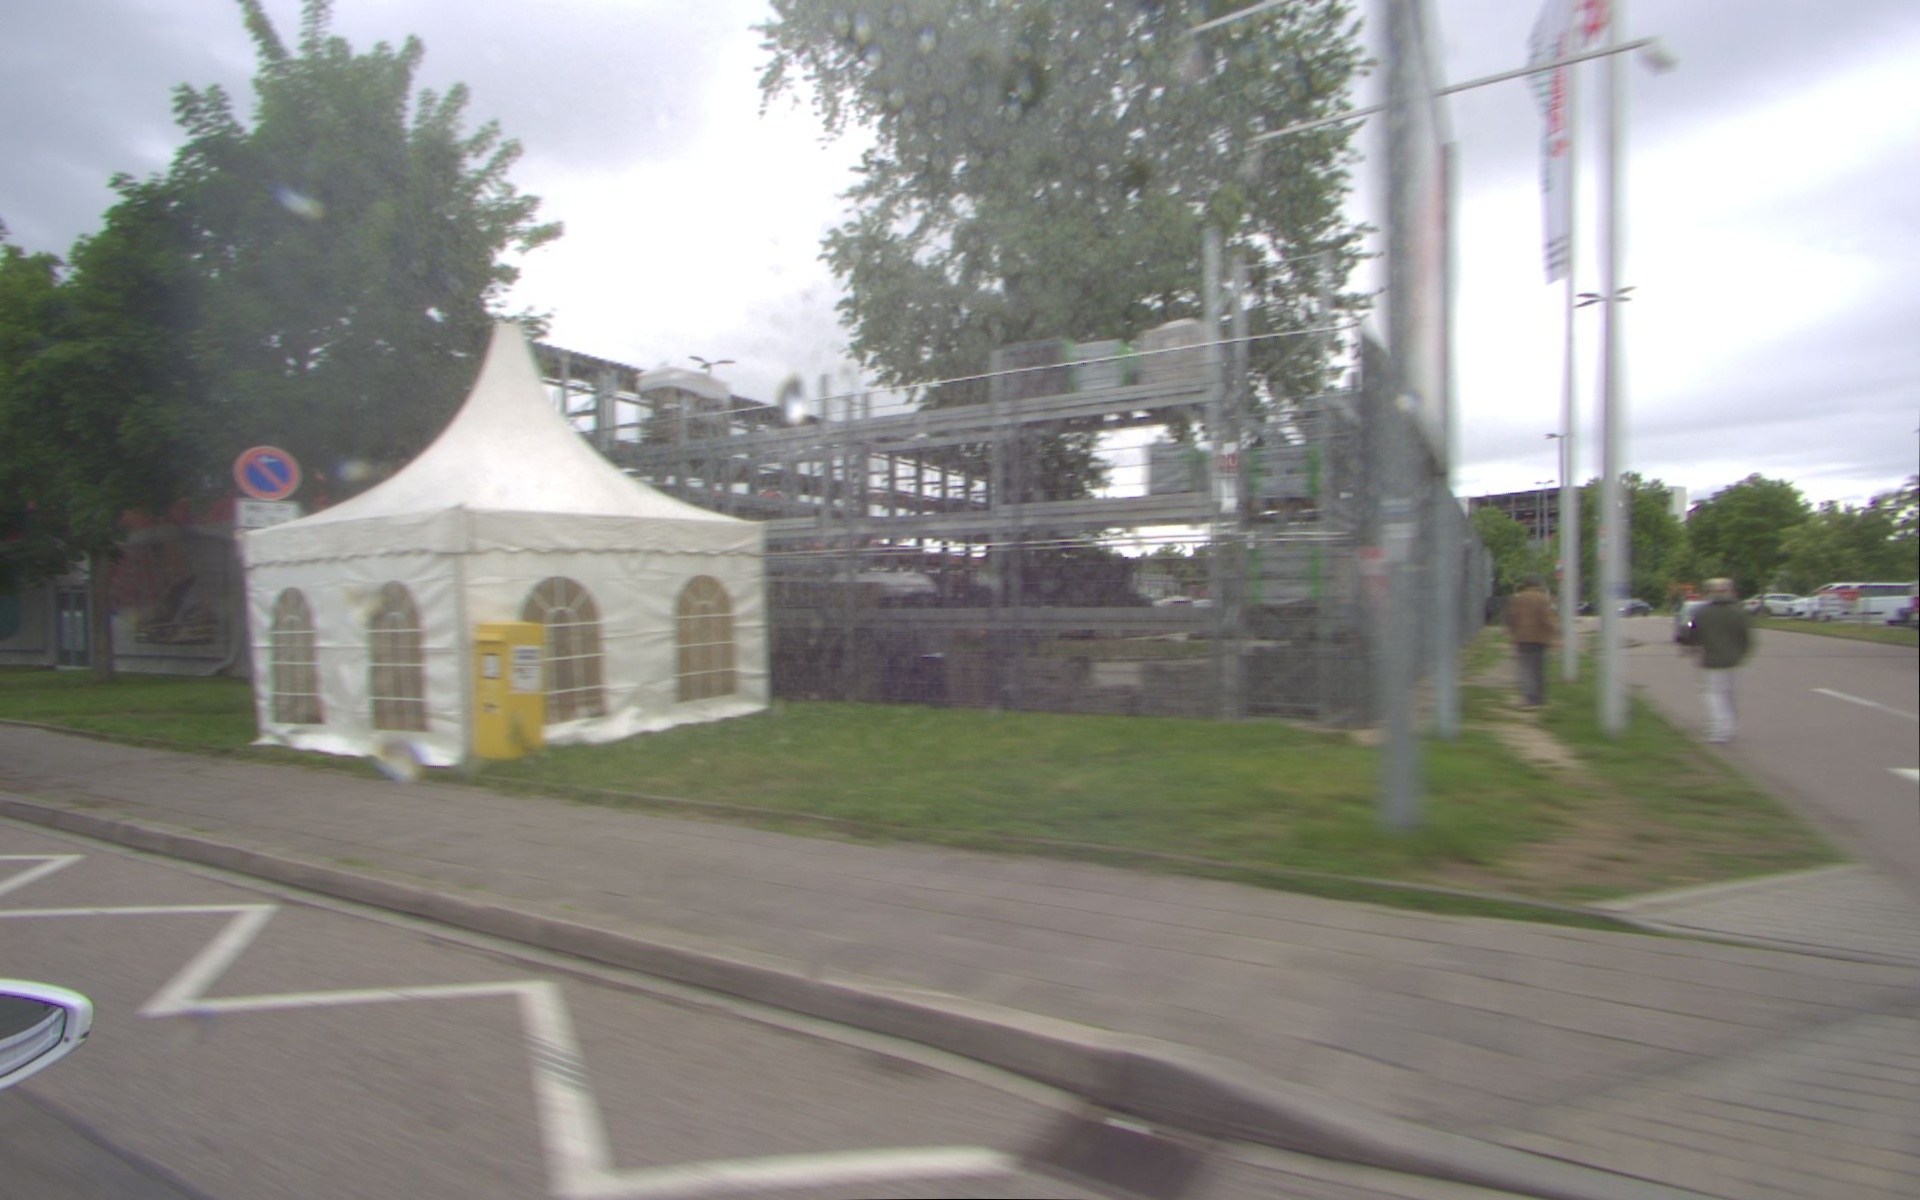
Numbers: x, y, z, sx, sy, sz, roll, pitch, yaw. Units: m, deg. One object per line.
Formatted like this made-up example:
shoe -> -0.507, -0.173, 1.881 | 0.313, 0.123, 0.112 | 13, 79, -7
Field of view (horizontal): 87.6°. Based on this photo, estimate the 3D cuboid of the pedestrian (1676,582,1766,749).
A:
pedestrian -> 8.441, 0.691, 11.144 | 0.730, 1.766, 0.865 | 0, 1, 33

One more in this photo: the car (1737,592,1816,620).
car -> 48.435, 0.379, 59.493 | 3.437, 1.544, 1.633 | -1, -2, 32

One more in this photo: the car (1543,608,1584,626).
car -> 60.036, 1.701, 99.634 | 3.473, 1.793, 1.794 | -1, -2, 32

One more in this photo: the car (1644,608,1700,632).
car -> 61.307, 1.724, 86.308 | 3.741, 2.039, 1.922 | -1, -2, 32

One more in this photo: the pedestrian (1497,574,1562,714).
pedestrian -> 7.056, 0.528, 12.416 | 0.687, 1.670, 0.822 | 0, 1, 30

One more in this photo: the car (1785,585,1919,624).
car -> 42.177, 0.239, 47.357 | 4.471, 1.729, 1.931 | -1, -2, 26

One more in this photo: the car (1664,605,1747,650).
car -> 25.453, 0.903, 34.294 | 1.704, 1.439, 4.099 | 0, -1, 29
